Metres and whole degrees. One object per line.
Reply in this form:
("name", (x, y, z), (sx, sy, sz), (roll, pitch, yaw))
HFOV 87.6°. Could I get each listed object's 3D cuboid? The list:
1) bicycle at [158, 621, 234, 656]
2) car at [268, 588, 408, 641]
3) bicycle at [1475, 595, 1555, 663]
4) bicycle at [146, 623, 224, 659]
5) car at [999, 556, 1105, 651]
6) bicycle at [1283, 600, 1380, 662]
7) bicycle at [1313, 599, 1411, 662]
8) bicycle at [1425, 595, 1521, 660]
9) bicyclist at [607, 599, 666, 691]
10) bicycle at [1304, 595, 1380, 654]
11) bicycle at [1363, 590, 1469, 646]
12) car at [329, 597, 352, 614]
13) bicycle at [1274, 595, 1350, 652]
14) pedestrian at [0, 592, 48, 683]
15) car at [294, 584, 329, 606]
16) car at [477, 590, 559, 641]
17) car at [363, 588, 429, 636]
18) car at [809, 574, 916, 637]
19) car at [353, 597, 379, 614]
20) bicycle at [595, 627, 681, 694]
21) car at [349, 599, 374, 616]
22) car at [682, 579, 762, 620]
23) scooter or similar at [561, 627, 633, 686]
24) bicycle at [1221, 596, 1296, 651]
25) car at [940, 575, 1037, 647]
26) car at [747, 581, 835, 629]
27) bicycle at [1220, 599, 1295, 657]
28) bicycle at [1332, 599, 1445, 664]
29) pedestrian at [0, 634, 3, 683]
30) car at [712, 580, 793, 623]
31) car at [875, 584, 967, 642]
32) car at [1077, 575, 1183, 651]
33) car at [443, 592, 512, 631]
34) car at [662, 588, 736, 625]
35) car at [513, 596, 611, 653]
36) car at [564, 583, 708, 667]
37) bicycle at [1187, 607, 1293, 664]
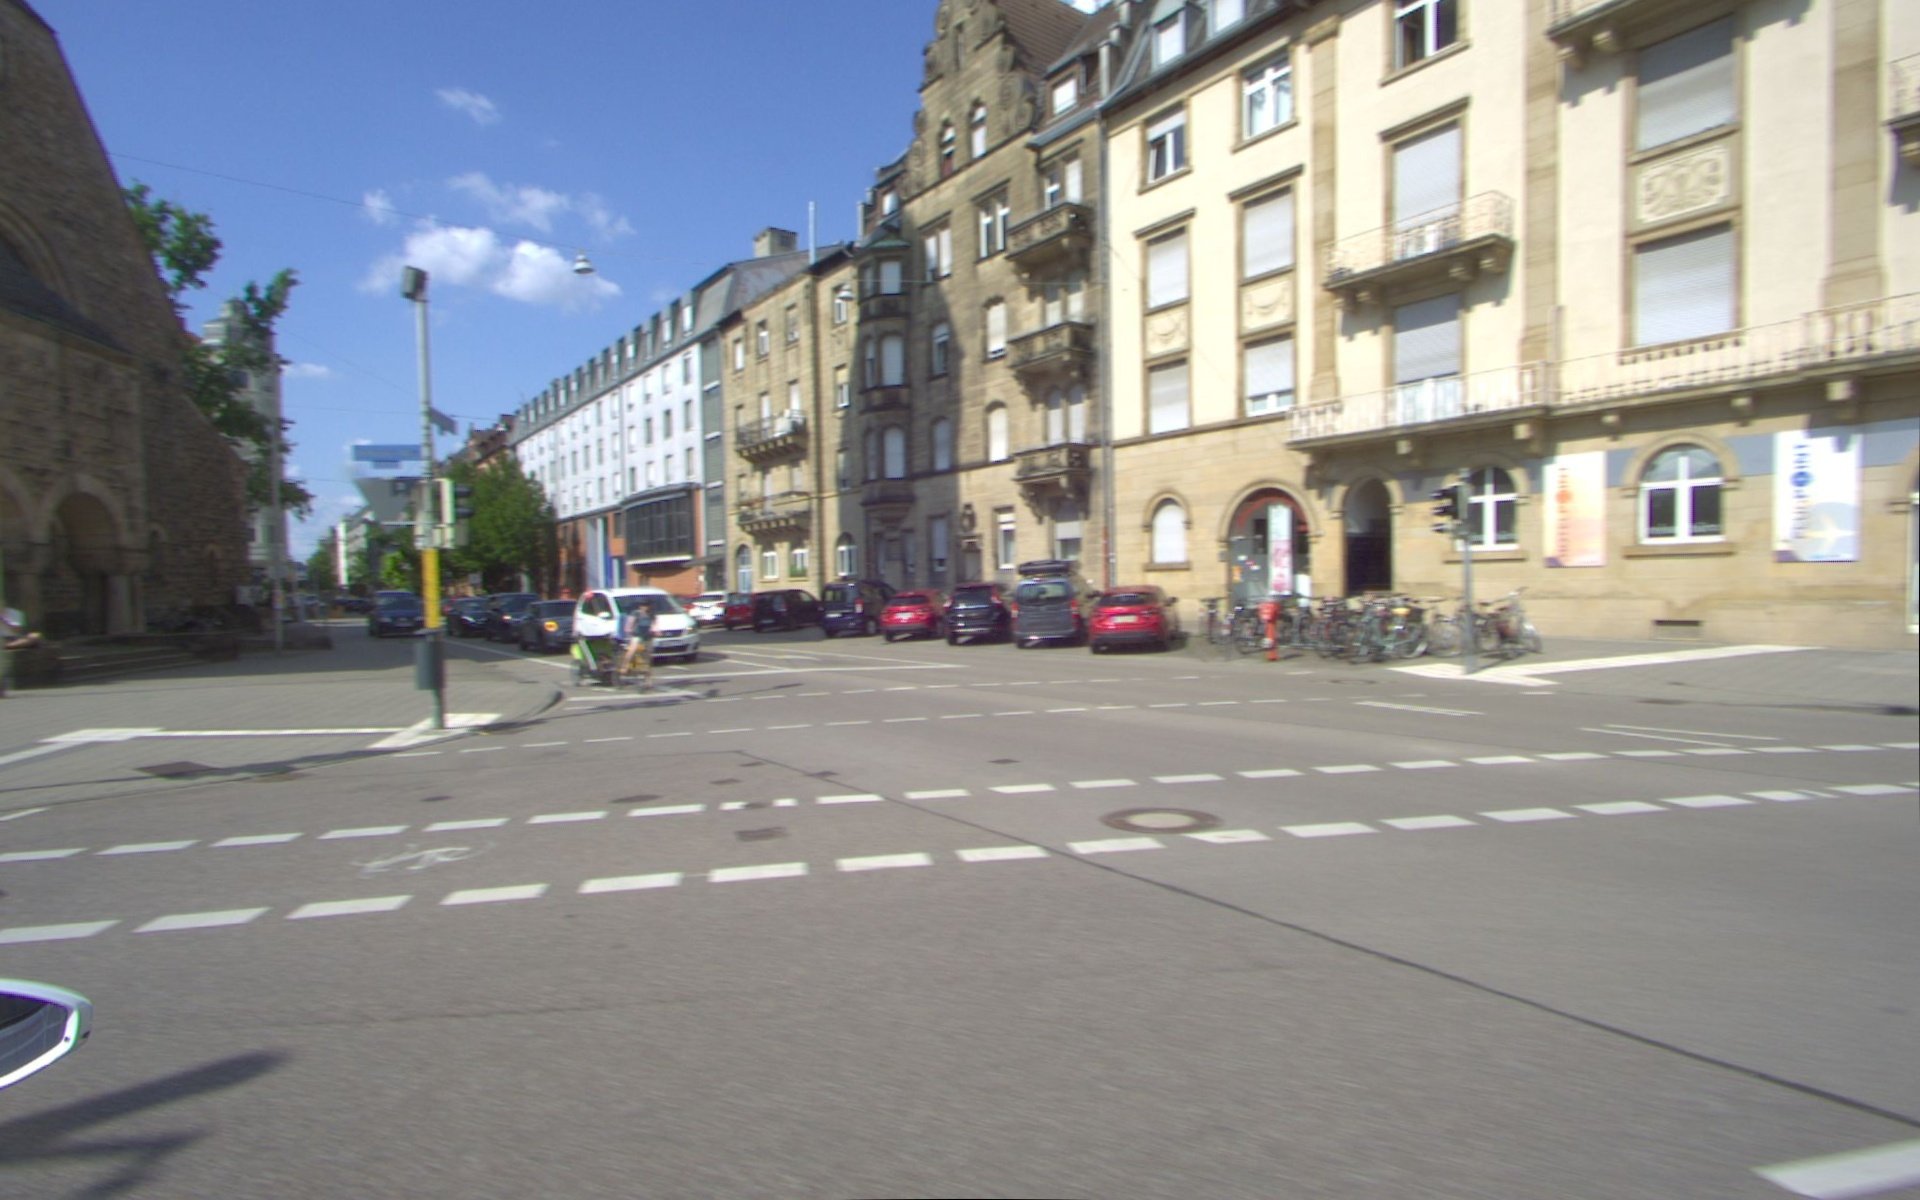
("bicycle", (-17.444, 0.881, 22.875), (1.342, 0.751, 0.338), (-1, 2, -13))
("car", (-21.052, 0.496, 33.938), (3.903, 1.674, 2.027), (-1, 1, 21))
("bicycle", (9.823, 0.493, 17.690), (1.855, 1.033, 0.605), (-5, 4, -40))
("bicycle", (-17.355, 0.910, 22.448), (1.342, 0.751, 0.338), (-1, 2, -13))
("car", (2.505, 0.018, 26.244), (1.933, 2.112, 3.989), (-2, 4, 17))
("bicycle", (7.237, 0.579, 19.477), (1.896, 1.033, 0.538), (-4, 4, -23))
("bicycle", (7.657, 0.568, 19.051), (1.896, 1.033, 0.538), (-4, 3, -23))
("bicycle", (9.422, 0.478, 18.366), (1.848, 1.033, 0.607), (-4, 3, -28))
("bicyclist", (-5.581, 0.755, 17.263), (0.645, 1.524, 0.914), (-2, 2, -40))
("bicycle", (7.895, 0.479, 20.655), (1.904, 1.033, 0.536), (-5, 4, -37))
("bicycle", (9.046, 0.337, 19.930), (0.533, 1.032, 1.916), (-5, 3, -32))
("car", (-72.657, 0.632, 117.469), (1.974, 1.840, 3.971), (-2, 2, -36))
("bicycle", (7.470, 0.469, 21.194), (1.904, 1.033, 0.536), (-5, 4, -37))
("pedestrian", (-15.750, 0.607, 16.748), (0.510, 1.427, 0.555), (7, 8, 31))
("car", (-41.379, -0.356, 63.919), (1.619, 1.343, 3.722), (-2, 2, -30))
("car", (-15.258, 0.481, 34.466), (1.682, 1.618, 4.041), (-2, 2, -37))
("car", (-22.625, 0.425, 40.115), (1.792, 1.688, 4.042), (-3, 3, -36))
("car", (-3.240, 0.137, 34.039), (1.885, 1.850, 3.985), (-1, 3, 23))
("car", (-56.828, 0.533, 95.837), (1.766, 1.573, 3.971), (-2, 2, -36))
("bicycle", (-5.573, 1.010, 17.253), (0.645, 1.002, 2.116), (-2, 2, -40))
("car", (-65.114, 0.796, 108.852), (1.974, 1.840, 3.971), (-2, 2, -36))
("car", (-10.225, -0.044, 43.301), (1.577, 1.521, 3.766), (-2, 3, 17))
("scooter or similar", (-6.694, 1.024, 18.453), (0.880, 0.990, 1.121), (-2, 2, -41))
("bicycle", (6.562, 0.496, 21.934), (1.904, 1.033, 0.536), (-5, 4, -37))
("car", (0.888, 0.253, 28.349), (1.680, 1.692, 3.990), (-2, 3, 17))
("car", (-6.466, 0.156, 38.666), (1.680, 1.567, 3.990), (-2, 3, 17))
("bicycle", (6.226, 0.558, 20.906), (1.906, 1.033, 0.535), (-6, 4, -41))
("bicycle", (7.818, 0.568, 18.282), (1.842, 1.033, 0.601), (-3, 3, -10))
("pedestrian", (-16.049, 0.642, 16.269), (0.510, 1.427, 0.555), (7, 8, 31))
("car", (-8.452, 0.021, 41.059), (1.577, 1.476, 3.766), (-2, 3, 17))
("car", (-1.130, 0.351, 31.249), (1.881, 1.464, 3.993), (-2, 3, 12))
("car", (4.094, 0.250, 23.560), (1.933, 1.461, 3.990), (-2, 3, 17))
("car", (-18.872, 0.399, 39.119), (1.682, 1.409, 3.832), (-2, 2, -37))
("car", (-11.901, 0.268, 45.854), (1.577, 1.416, 3.564), (-2, 3, 17))
("car", (-11.371, 0.636, 28.478), (1.654, 1.470, 3.707), (-2, 2, -37))
("car", (-7.719, 0.505, 23.585), (1.792, 1.763, 4.628), (-2, 2, -37))
("bicycle", (5.430, 0.684, 19.494), (1.904, 1.032, 0.536), (-1, 4, 38))
